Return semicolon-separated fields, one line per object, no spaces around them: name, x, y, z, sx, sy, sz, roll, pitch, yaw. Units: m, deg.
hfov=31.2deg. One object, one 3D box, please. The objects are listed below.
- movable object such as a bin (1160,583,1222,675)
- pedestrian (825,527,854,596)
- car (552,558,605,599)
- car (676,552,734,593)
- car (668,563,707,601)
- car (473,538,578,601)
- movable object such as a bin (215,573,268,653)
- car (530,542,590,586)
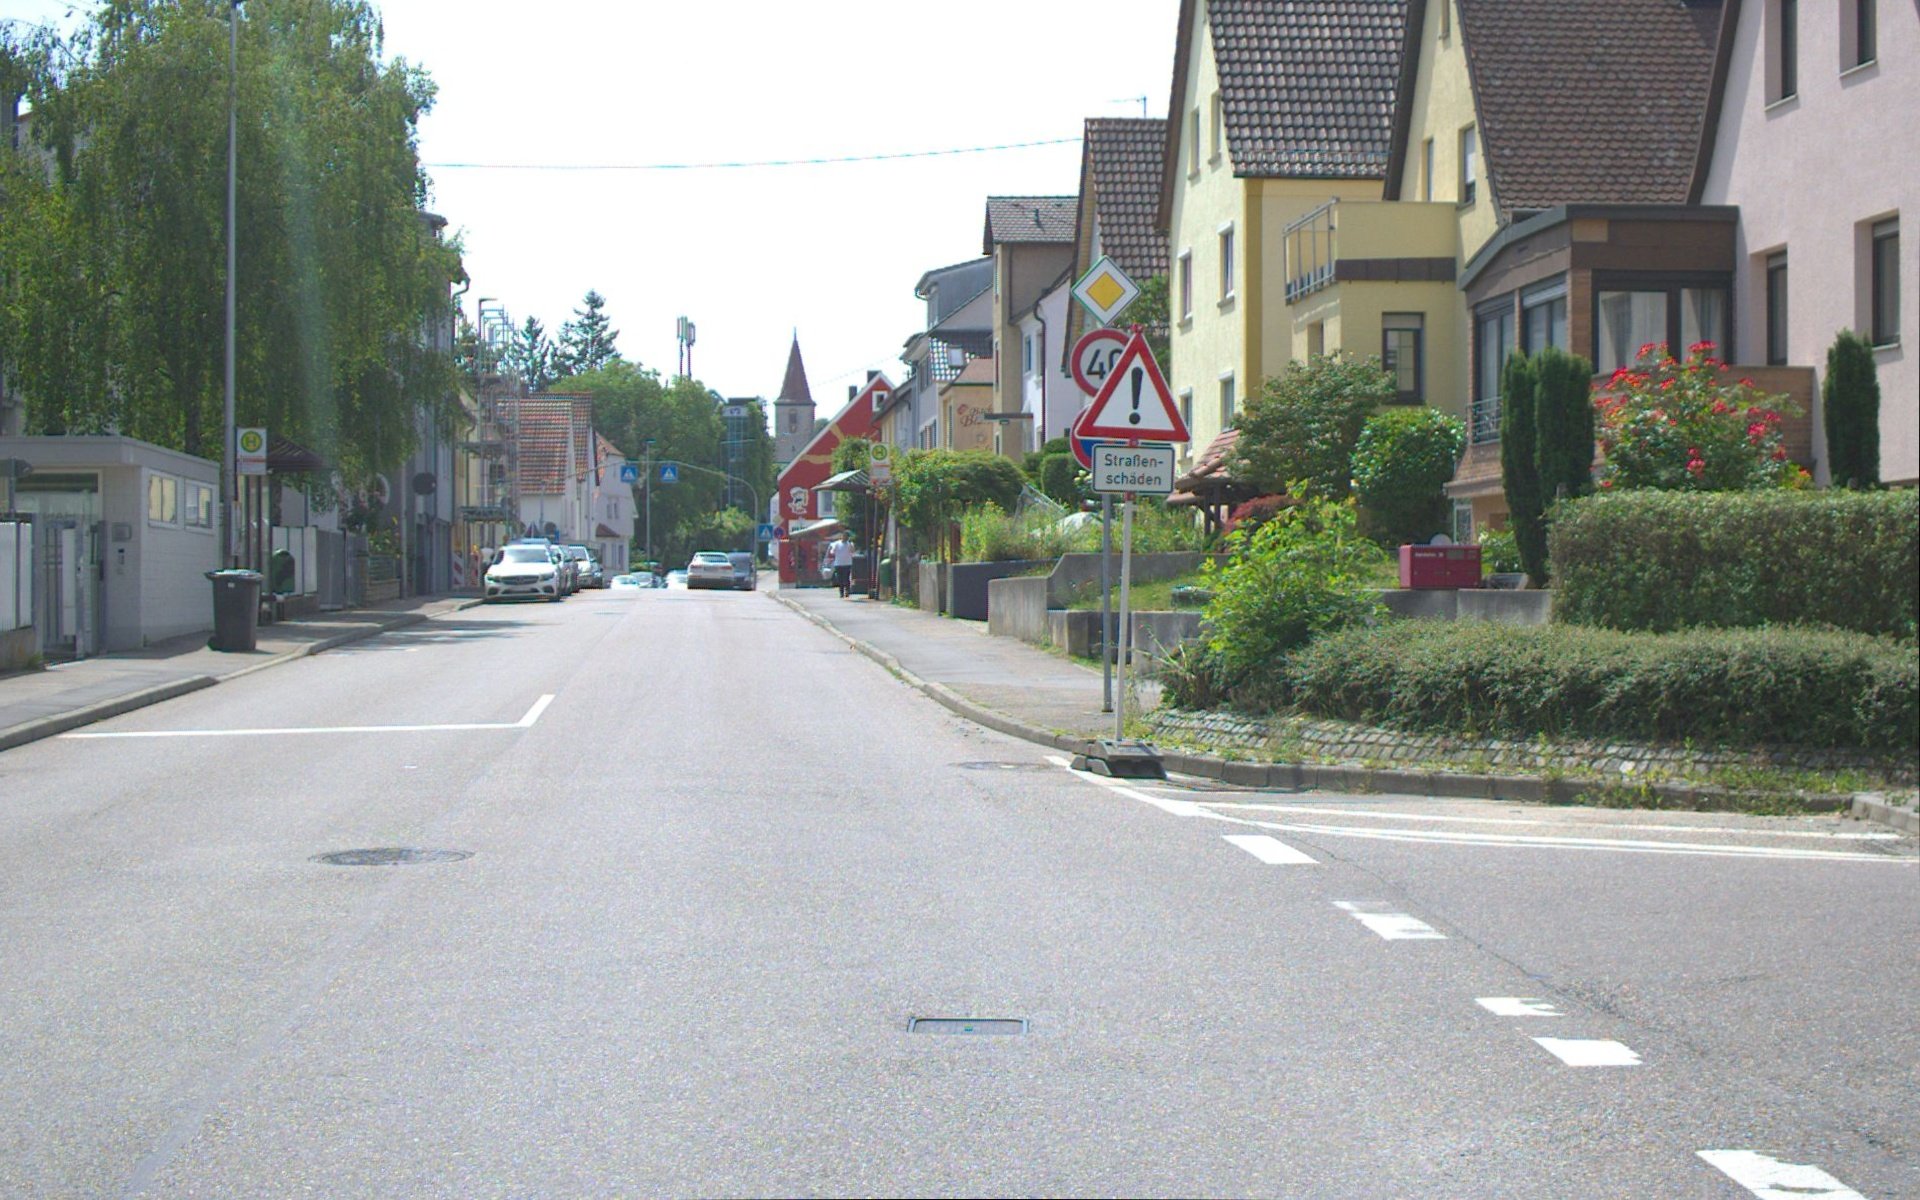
movable object such as a bin;2.831;0.353;42.173;0.583;1.075;0.734;4;1;-4
pedestrian;-3.074;-0.987;87.457;0.646;1.724;0.608;-3;1;-4
car;-15.182;-0.856;136.944;1.993;1.555;4.314;-1;1;-5
car;-9.932;-1.079;133.721;1.993;1.555;4.315;-1;1;-8
car;-14.921;-1.014;188.381;1.993;2.007;4.000;-1;1;-2
car;-11.047;-0.788;87.590;2.110;1.555;4.314;-1;1;0
movable object such as a bin;-9.648;0.172;46.176;0.607;1.042;0.725;1;2;-4
car;-14.332;-1.295;123.305;1.993;1.555;4.314;0;1;-5
